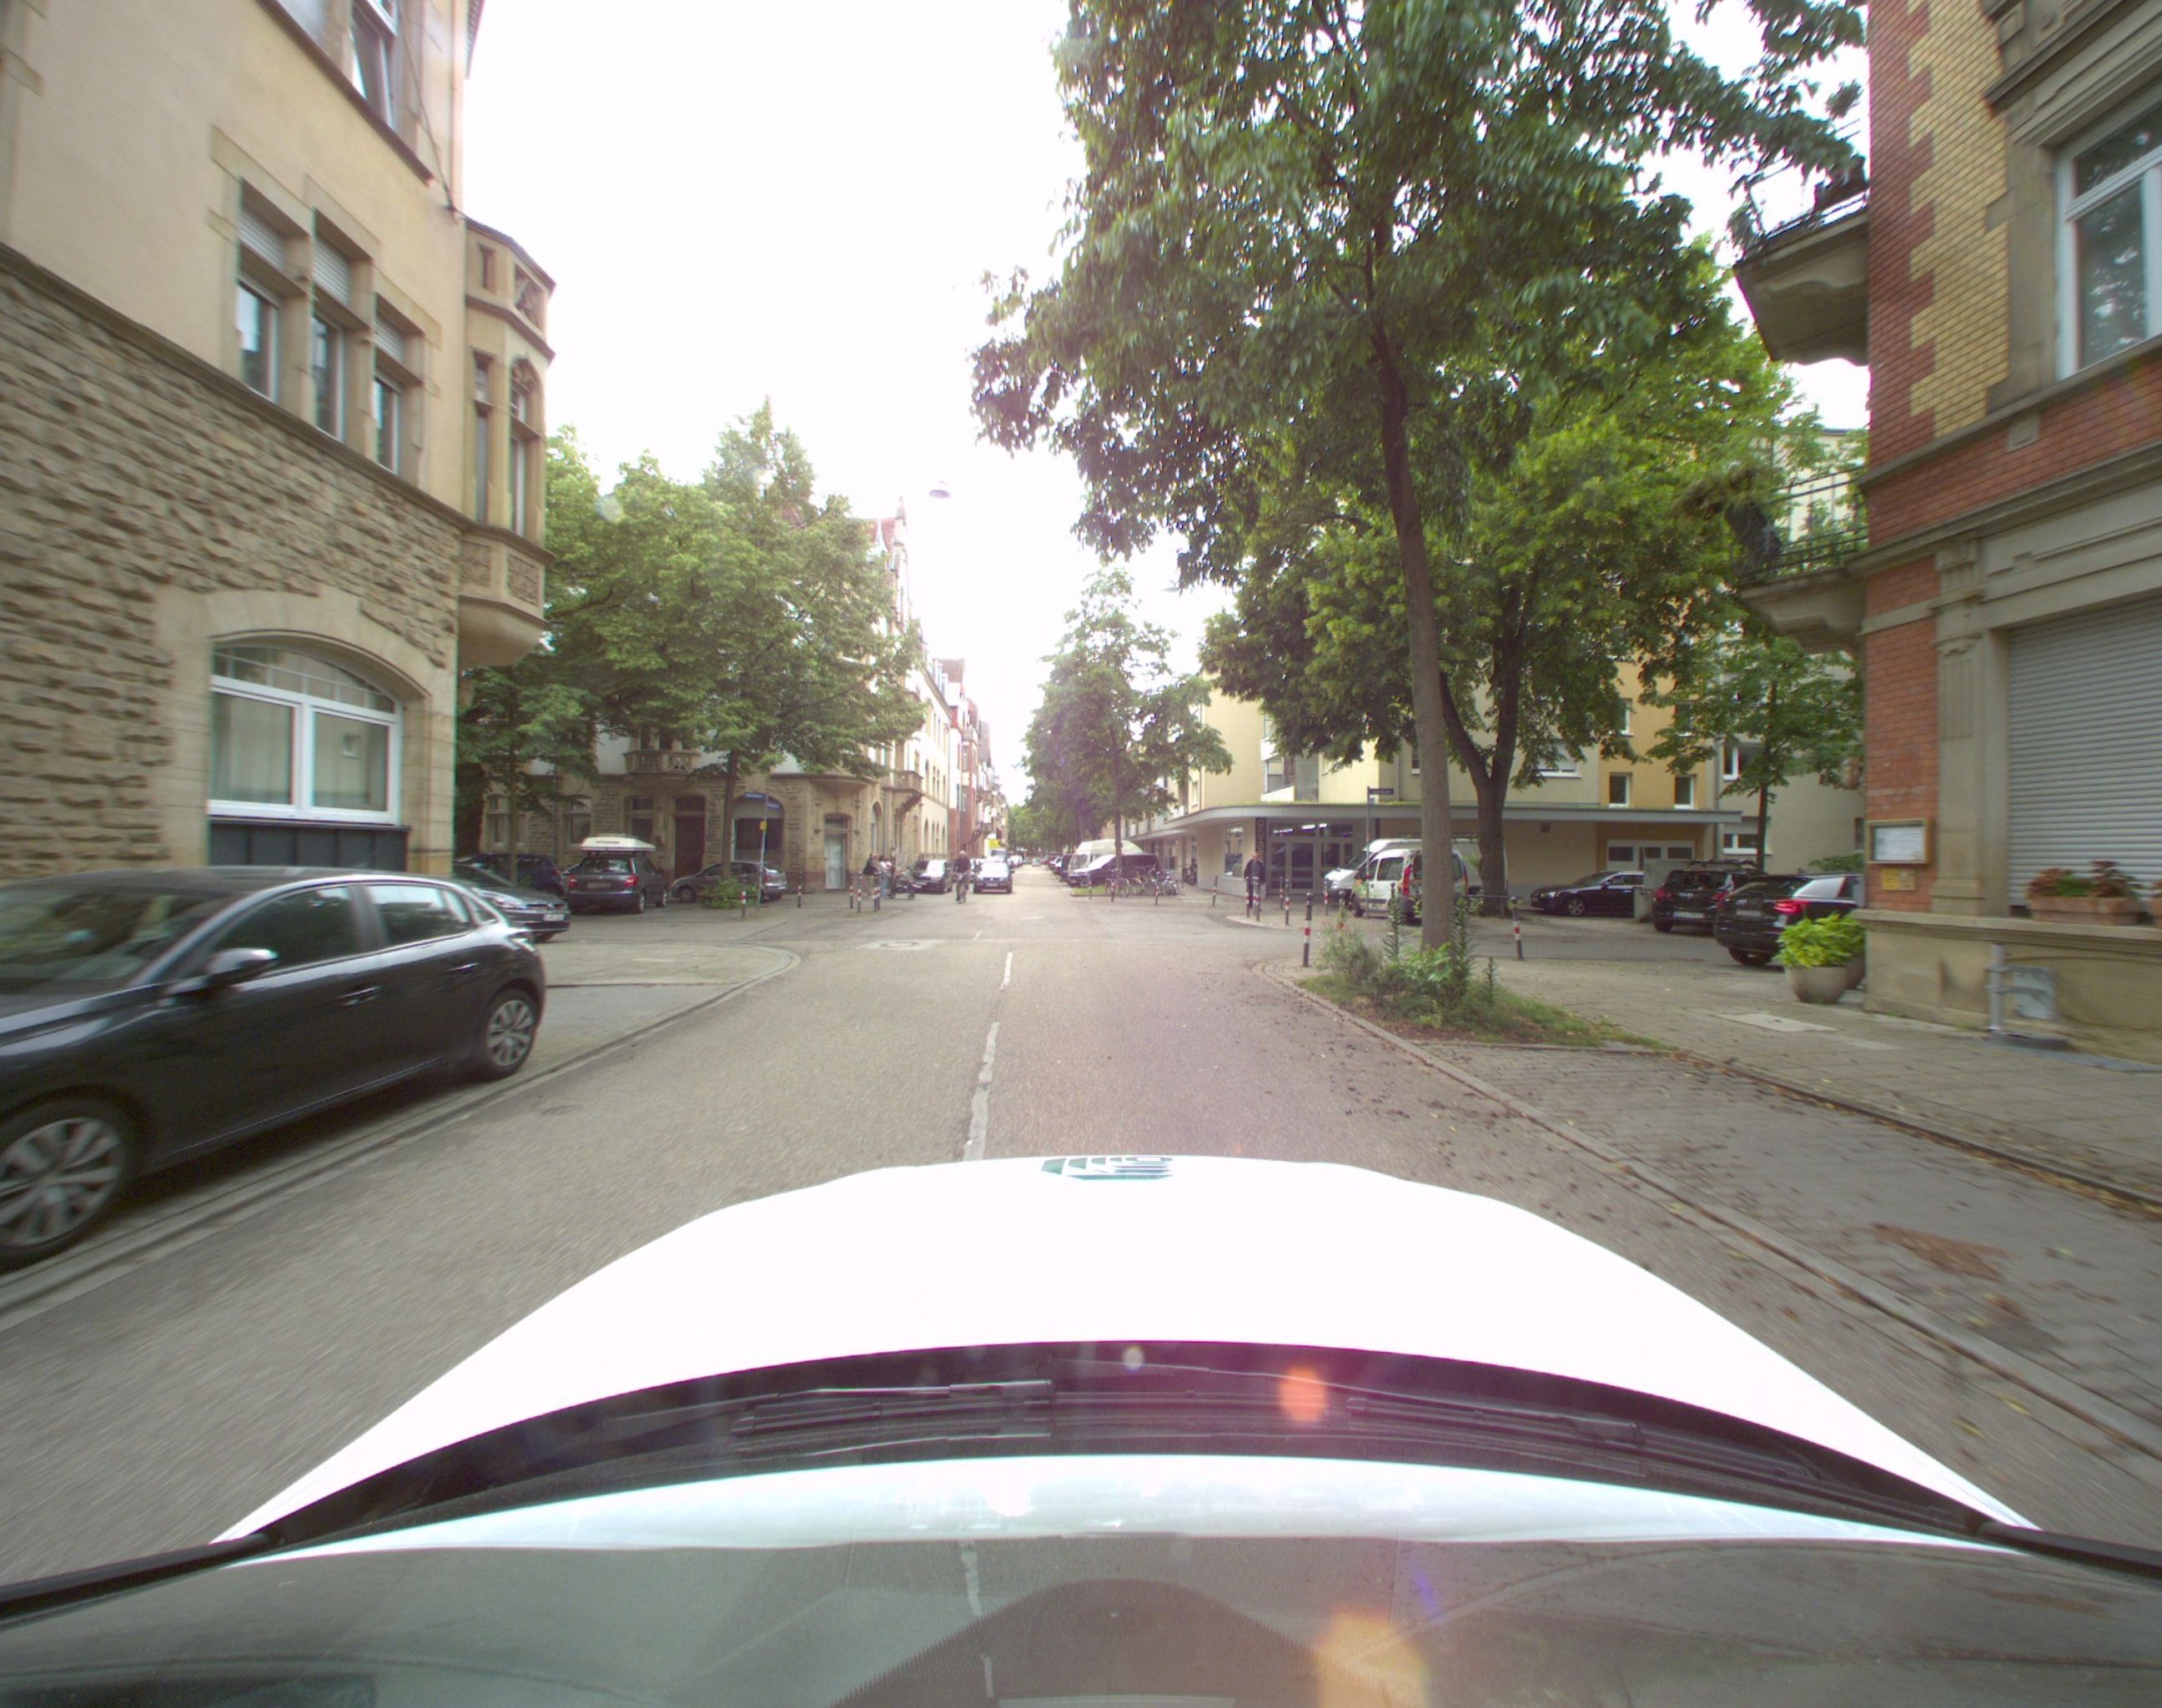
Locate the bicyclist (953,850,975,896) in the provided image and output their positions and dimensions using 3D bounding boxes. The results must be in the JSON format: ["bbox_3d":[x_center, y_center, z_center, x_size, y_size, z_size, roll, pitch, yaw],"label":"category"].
[{"bbox_3d":[-3.987,0.635,27.719,0.646,1.538,0.676,0,-1,-1],"label":"bicyclist"}]

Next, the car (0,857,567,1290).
[{"bbox_3d":[-4.675,0.776,4.147,1.723,1.434,3.878,2,0,-3],"label":"car"}]

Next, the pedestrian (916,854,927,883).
[{"bbox_3d":[-8.428,0.780,43.004,0.514,1.518,0.546,0,-1,-3],"label":"pedestrian"}]

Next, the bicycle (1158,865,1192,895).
[{"bbox_3d":[3.793,1.038,32.928,0.551,1.173,1.684,1,0,-25],"label":"bicycle"}]

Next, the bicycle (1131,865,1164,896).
[{"bbox_3d":[2.621,1.023,32.259,0.551,1.173,1.714,1,0,-25],"label":"bicycle"}]

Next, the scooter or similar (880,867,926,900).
[{"bbox_3d":[-6.583,1.089,30.180,1.461,1.104,0.677,3,0,8],"label":"scooter or similar"}]

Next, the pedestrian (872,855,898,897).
[{"bbox_3d":[-7.542,0.846,31.355,0.623,1.593,0.674,1,-1,38],"label":"pedestrian"}]

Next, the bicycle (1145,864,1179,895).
[{"bbox_3d":[3.229,1.010,32.573,0.551,1.173,1.714,1,0,-25],"label":"bicycle"}]

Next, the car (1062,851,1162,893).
[{"bbox_3d":[1.471,0.820,38.233,4.357,1.854,1.893,1,0,-28],"label":"car"}]

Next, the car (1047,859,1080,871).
[{"bbox_3d":[-2.369,1.458,109.211,4.039,1.559,1.865,1,-1,-34],"label":"car"}]

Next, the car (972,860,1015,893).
[{"bbox_3d":[-3.925,1.013,37.017,1.704,1.413,3.848,0,-1,-3],"label":"car"}]

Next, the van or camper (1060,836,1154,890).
[{"bbox_3d":[1.352,0.465,41.263,4.616,2.596,1.890,1,-1,-36],"label":"van or camper"}]

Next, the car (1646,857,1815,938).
[{"bbox_3d":[14.397,0.891,18.016,3.965,1.581,1.669,0,1,-31],"label":"car"}]

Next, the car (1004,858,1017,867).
[{"bbox_3d":[-11.703,1.450,135.070,1.989,1.475,3.995,0,0,-3],"label":"car"}]

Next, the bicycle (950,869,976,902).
[{"bbox_3d":[-3.989,1.048,27.680,0.632,1.094,1.798,0,-1,-1],"label":"bicycle"}]

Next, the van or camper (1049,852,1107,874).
[{"bbox_3d":[-0.245,0.827,76.104,5.038,1.869,2.106,-1,-1,-31],"label":"van or camper"}]

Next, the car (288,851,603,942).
[{"bbox_3d":[-11.118,0.758,14.442,4.253,1.467,1.664,1,-4,3],"label":"car"}]

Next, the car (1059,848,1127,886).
[{"bbox_3d":[0.793,0.788,49.941,2.040,2.196,4.427,0,0,35],"label":"car"}]

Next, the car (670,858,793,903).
[{"bbox_3d":[-12.135,0.898,28.404,3.551,1.460,1.652,0,1,6],"label":"car"}]

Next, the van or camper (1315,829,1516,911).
[{"bbox_3d":[10.815,0.466,26.745,5.743,2.494,2.140,0,3,5],"label":"van or camper"}]

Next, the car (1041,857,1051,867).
[{"bbox_3d":[-7.664,1.688,179.387,1.989,2.014,3.995,3,-1,-4],"label":"car"}]

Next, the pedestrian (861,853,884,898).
[{"bbox_3d":[-7.807,0.800,30.553,0.612,1.643,0.605,1,0,9],"label":"pedestrian"}]

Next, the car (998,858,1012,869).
[{"bbox_3d":[-10.391,1.320,112.040,1.786,1.480,4.017,1,-1,-4],"label":"car"}]

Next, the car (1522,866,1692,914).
[{"bbox_3d":[16.594,1.105,25.886,4.143,1.428,1.911,0,0,8],"label":"car"}]

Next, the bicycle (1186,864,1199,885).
[{"bbox_3d":[6.158,1.118,45.017,0.483,1.090,1.700,0,0,-1],"label":"bicycle"}]

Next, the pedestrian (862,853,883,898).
[{"bbox_3d":[-7.658,0.777,29.959,0.525,1.643,0.529,2,-1,9],"label":"pedestrian"}]

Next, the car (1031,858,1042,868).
[{"bbox_3d":[-8.592,1.728,157.839,1.988,1.794,3.996,2,-2,-2],"label":"car"}]

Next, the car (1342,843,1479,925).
[{"bbox_3d":[8.015,0.684,20.199,1.765,1.819,3.999,0,0,-1],"label":"car"}]

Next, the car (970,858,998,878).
[{"bbox_3d":[-7.285,1.047,61.454,1.722,1.386,4.132,2,0,-3],"label":"car"}]

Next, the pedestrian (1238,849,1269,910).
[{"bbox_3d":[5.154,0.759,24.352,0.777,1.797,0.509,1,0,-2],"label":"pedestrian"}]

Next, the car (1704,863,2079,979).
[{"bbox_3d":[11.822,0.946,12.104,3.806,1.541,1.662,1,-2,3],"label":"car"}]

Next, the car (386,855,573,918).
[{"bbox_3d":[-15.798,0.803,21.562,1.633,1.516,3.635,0,0,32],"label":"car"}]

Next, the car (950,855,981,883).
[{"bbox_3d":[-7.078,0.913,50.187,1.643,1.570,2.953,2,0,-4],"label":"car"}]

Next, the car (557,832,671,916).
[{"bbox_3d":[-12.099,0.477,21.361,1.833,1.968,3.937,0,0,-19],"label":"car"}]

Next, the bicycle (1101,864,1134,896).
[{"bbox_3d":[1.417,0.986,31.727,0.551,1.173,1.714,1,0,-25],"label":"bicycle"}]

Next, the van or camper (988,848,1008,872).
[{"bbox_3d":[-9.728,0.703,95.984,2.003,2.651,5.311,0,1,-3],"label":"van or camper"}]

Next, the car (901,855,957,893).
[{"bbox_3d":[-6.514,0.858,35.256,1.705,1.495,3.997,2,-2,-2],"label":"car"}]

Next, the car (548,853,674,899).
[{"bbox_3d":[-16.565,0.784,28.785,3.473,1.460,1.652,2,-2,5],"label":"car"}]
